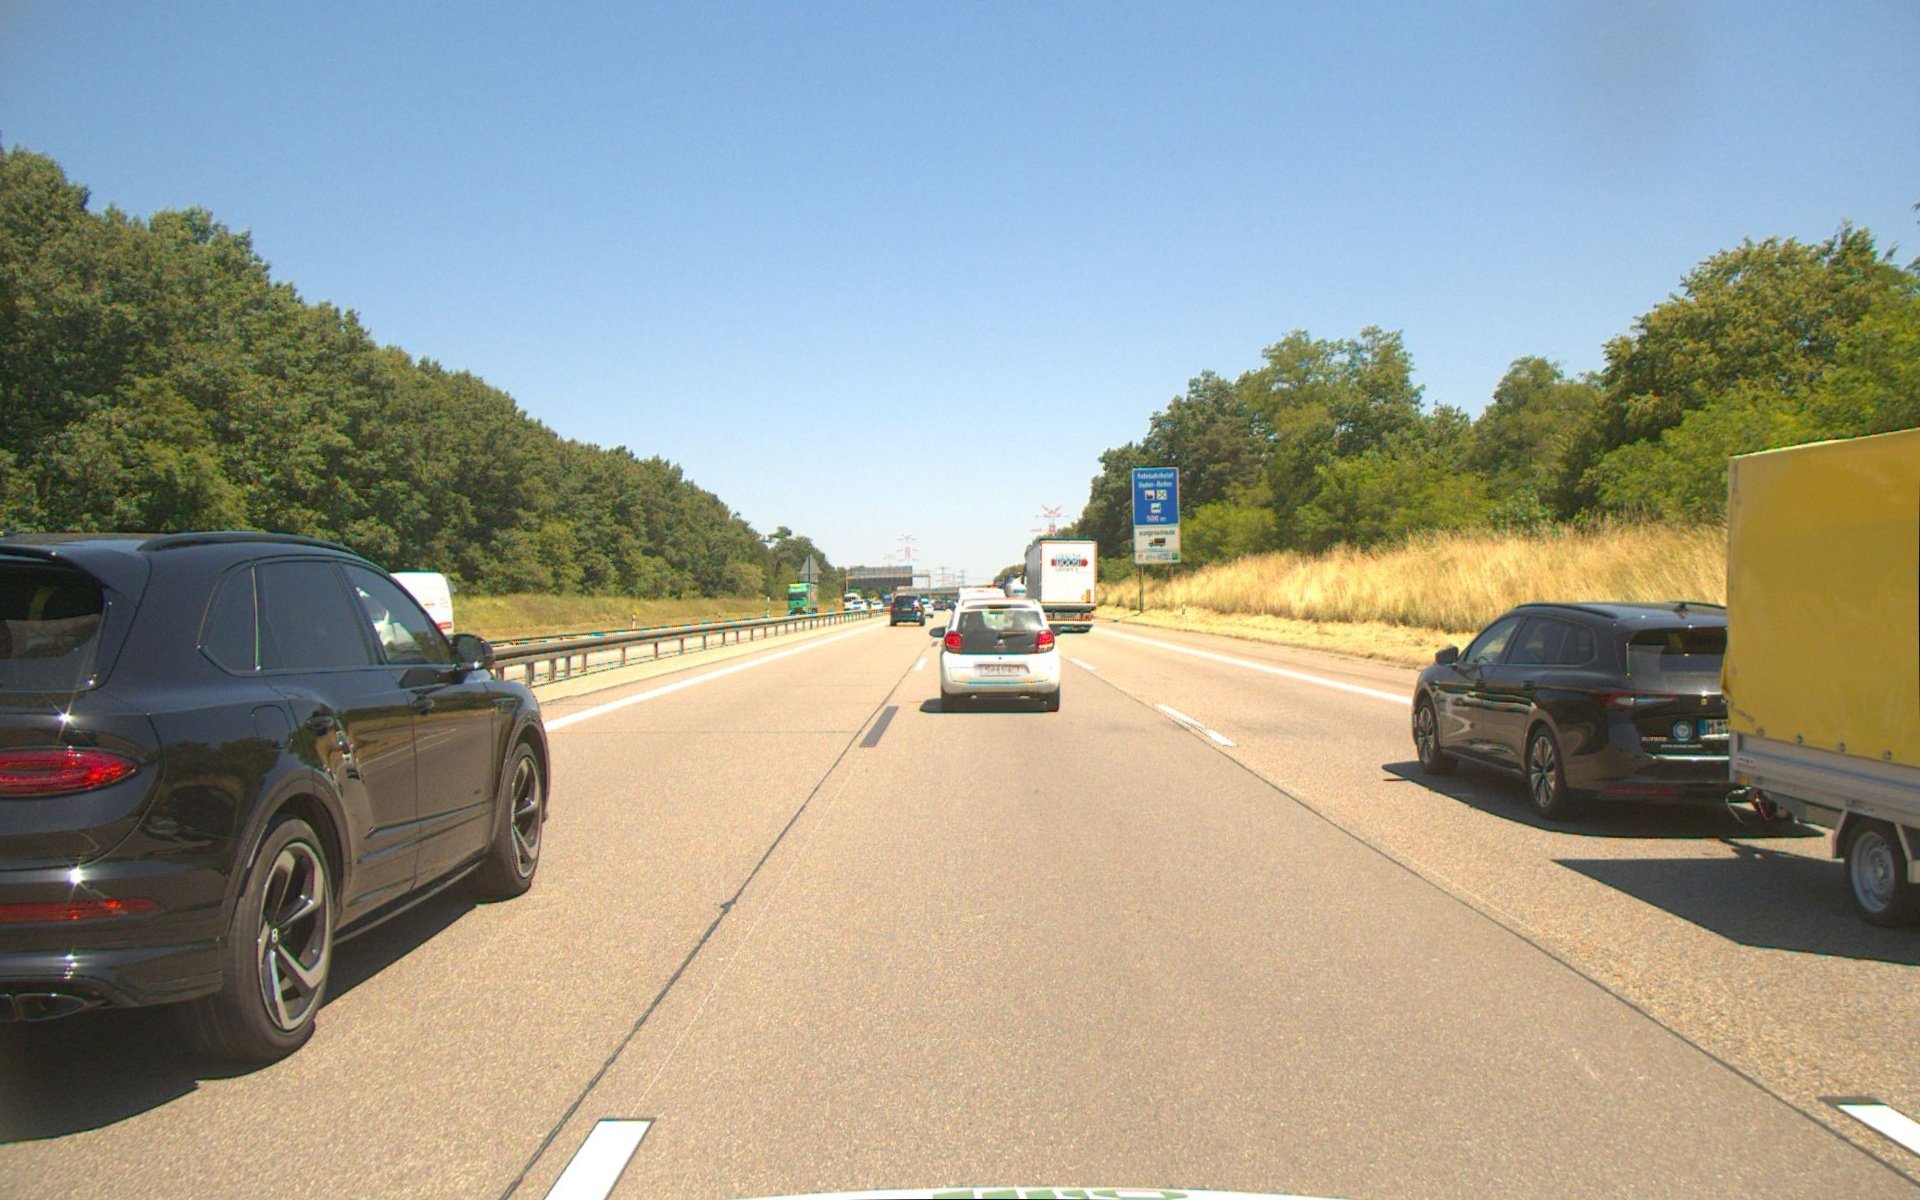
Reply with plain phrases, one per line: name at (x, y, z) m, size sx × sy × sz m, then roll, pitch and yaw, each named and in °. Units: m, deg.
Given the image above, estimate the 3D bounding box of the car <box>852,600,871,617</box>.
car at (-12.213, 1.040, 205.483) m, size 1.914 × 1.823 × 5.562 m, roll -4°, pitch 0°, yaw 0°

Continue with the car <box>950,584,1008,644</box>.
car at (0.579, 0.444, 54.679) m, size 1.777 × 1.859 × 5.110 m, roll -1°, pitch 0°, yaw 0°

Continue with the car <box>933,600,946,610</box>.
car at (-2.740, 0.715, 222.249) m, size 1.574 × 1.323 × 3.674 m, roll -1°, pitch 0°, yaw 0°

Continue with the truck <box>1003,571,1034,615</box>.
truck at (5.235, -0.630, 148.803) m, size 2.628 × 3.904 × 4.443 m, roll 0°, pitch 0°, yaw -1°

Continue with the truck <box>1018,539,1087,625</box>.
truck at (4.708, -0.897, 85.382) m, size 3.219 × 4.293 × 6.007 m, roll 0°, pitch 0°, yaw 0°

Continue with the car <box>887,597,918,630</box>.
car at (-3.197, 0.724, 92.856) m, size 1.593 × 1.785 × 3.804 m, roll -1°, pitch 0°, yaw 0°

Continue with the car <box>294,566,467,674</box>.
car at (-16.292, 0.503, 47.054) m, size 2.121 × 2.670 × 7.543 m, roll -4°, pitch 0°, yaw 0°

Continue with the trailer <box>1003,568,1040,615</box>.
trailer at (5.262, -0.662, 143.101) m, size 2.628 × 3.904 × 12.008 m, roll 0°, pitch 0°, yaw 0°

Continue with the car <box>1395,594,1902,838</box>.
car at (4.866, 0.707, 12.564) m, size 1.784 × 1.481 × 4.787 m, roll 0°, pitch 0°, yaw -1°

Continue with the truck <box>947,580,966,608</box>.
truck at (-0.372, -0.623, 183.522) m, size 2.018 × 2.965 × 7.002 m, roll -1°, pitch 0°, yaw 0°

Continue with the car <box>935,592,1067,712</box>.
car at (0.523, 0.653, 23.118) m, size 1.673 × 1.521 × 4.024 m, roll -1°, pitch 0°, yaw 0°

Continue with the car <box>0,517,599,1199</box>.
car at (-3.058, 0.666, 6.860) m, size 1.901 × 1.782 × 5.812 m, roll -1°, pitch 1°, yaw -1°

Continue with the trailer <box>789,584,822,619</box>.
trailer at (-20.064, 0.147, 215.129) m, size 2.650 × 4.233 × 14.337 m, roll -4°, pitch 0°, yaw 0°

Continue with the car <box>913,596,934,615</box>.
car at (-2.995, 0.445, 135.957) m, size 1.635 × 1.426 × 3.712 m, roll -2°, pitch 1°, yaw -1°

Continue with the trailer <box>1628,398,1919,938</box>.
trailer at (4.954, 0.287, 8.194) m, size 1.668 × 2.329 × 3.839 m, roll 0°, pitch 0°, yaw -1°

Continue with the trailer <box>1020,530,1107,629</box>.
trailer at (4.755, -0.869, 78.822) m, size 3.219 × 4.293 × 13.563 m, roll 0°, pitch 0°, yaw 0°

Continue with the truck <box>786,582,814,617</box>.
truck at (-20.080, -0.058, 208.222) m, size 2.646 × 4.233 × 6.296 m, roll -4°, pitch 0°, yaw 0°
